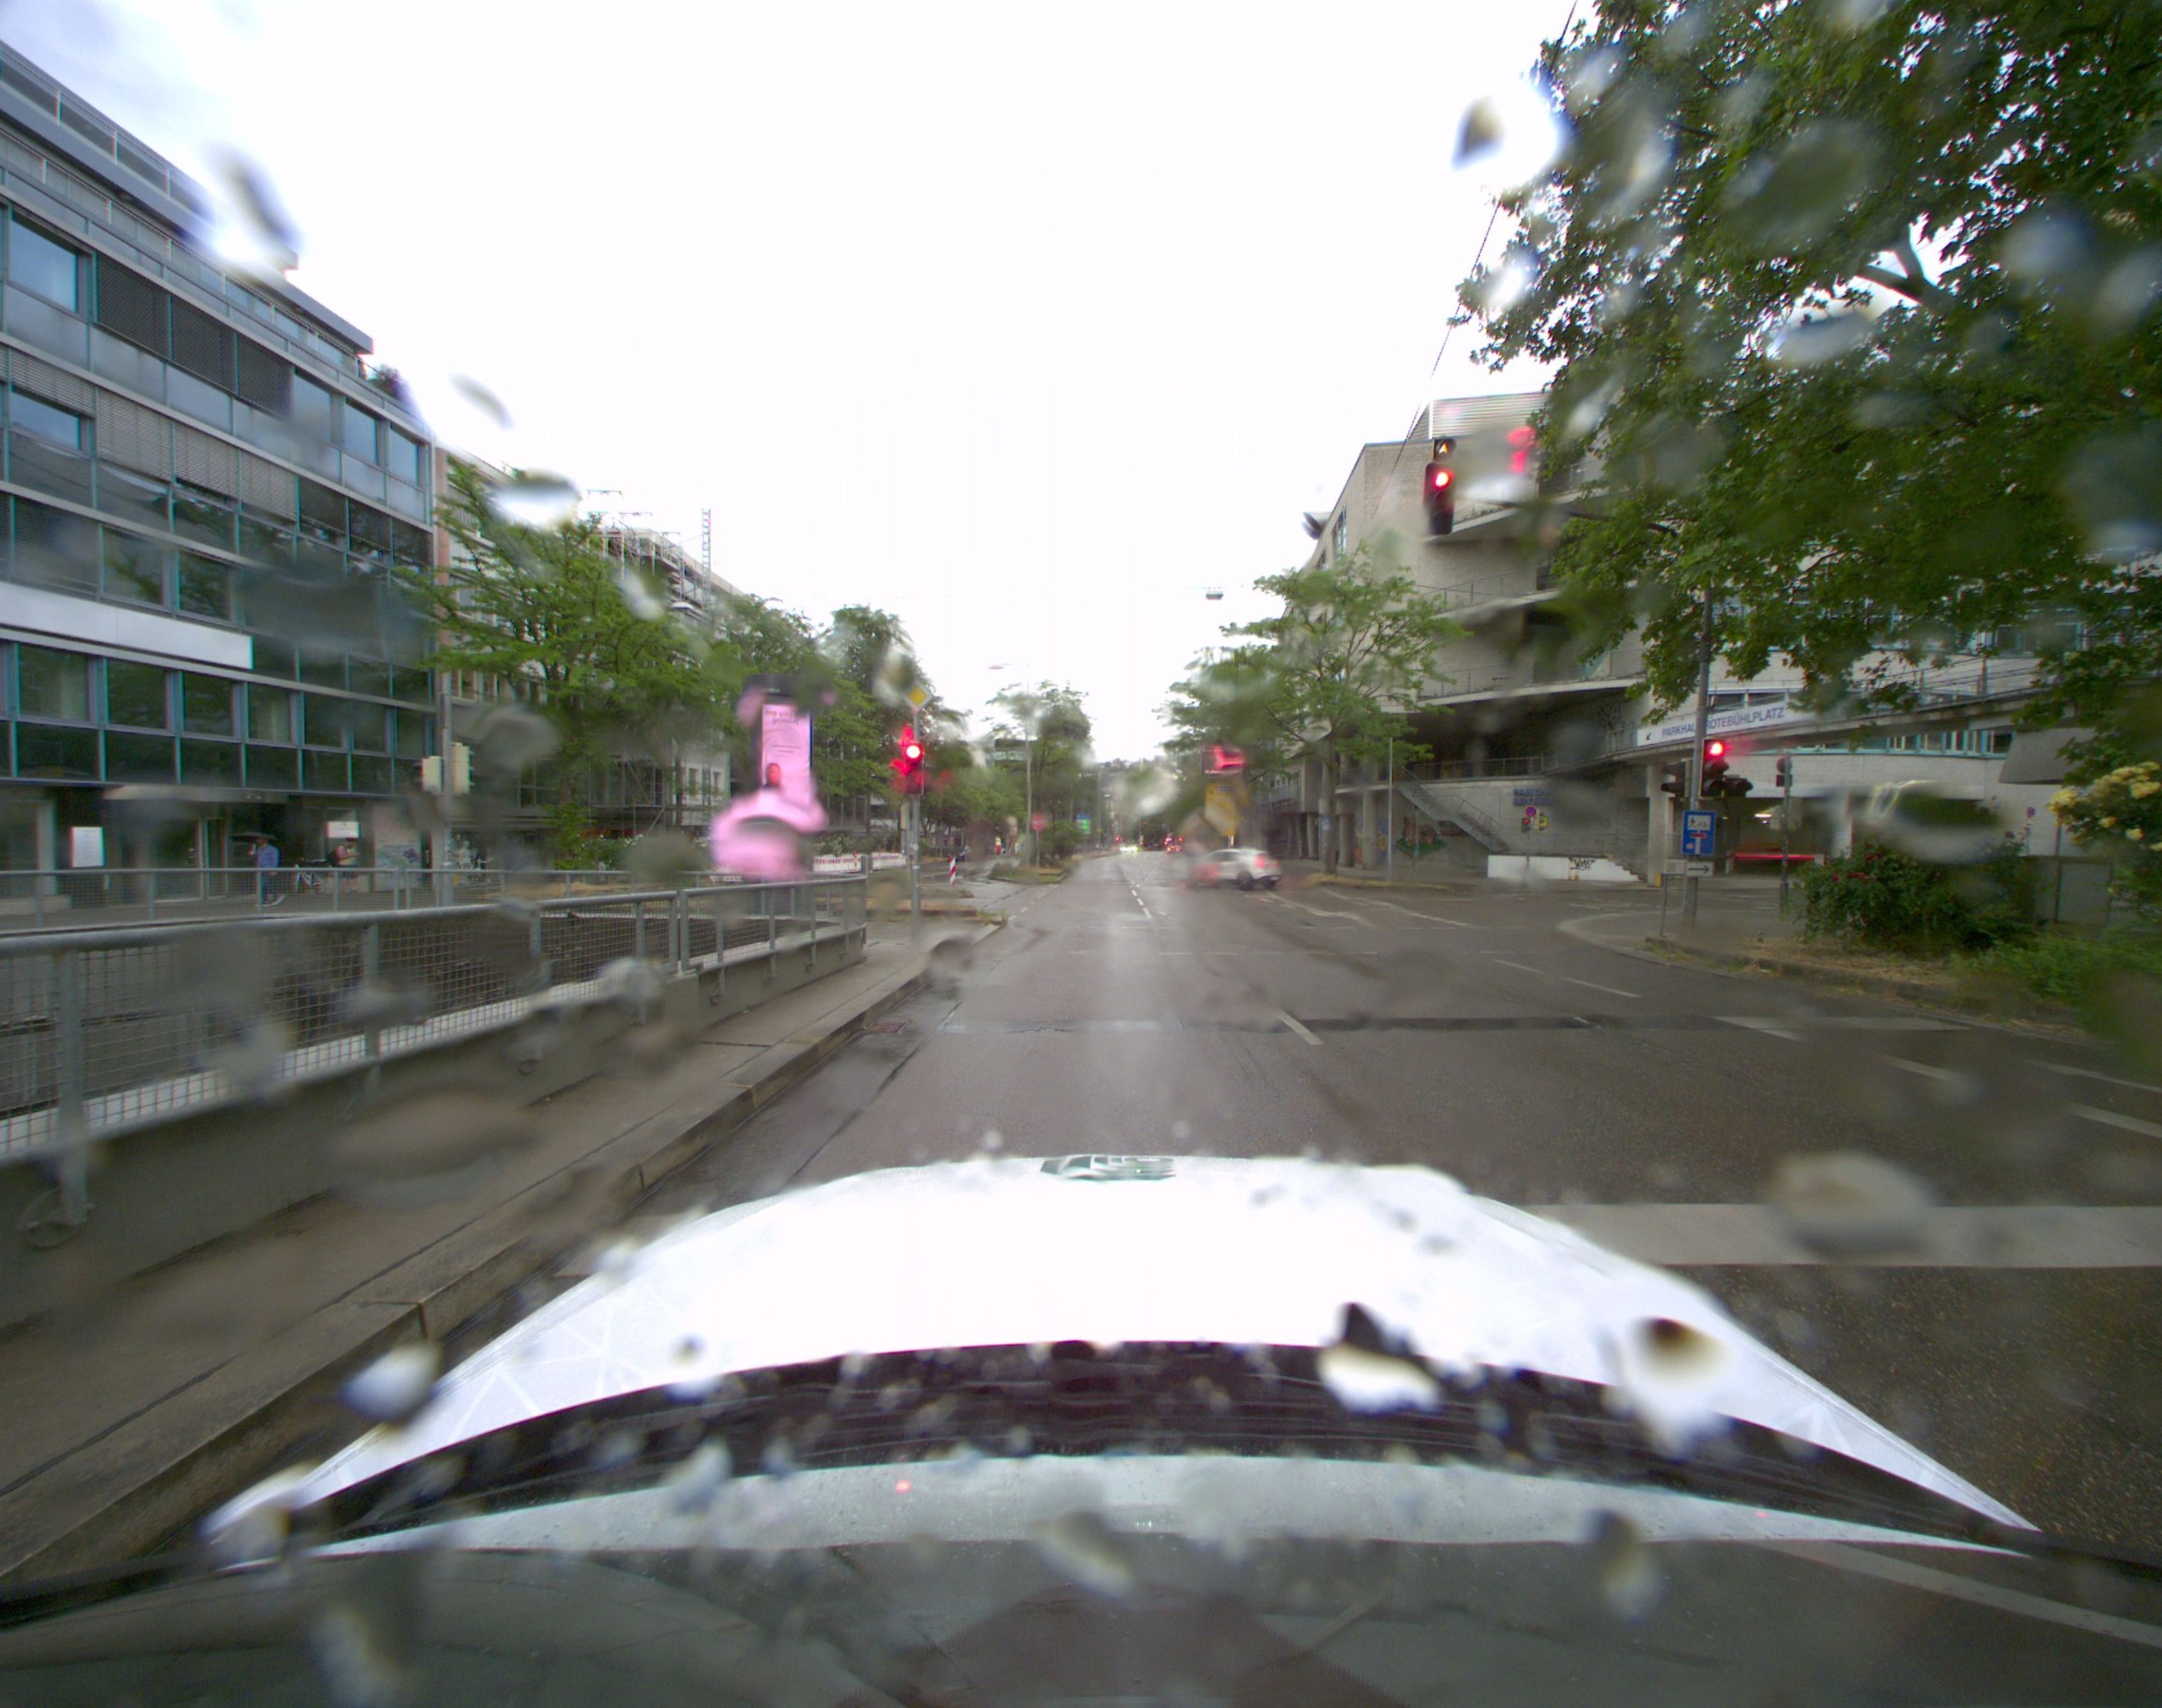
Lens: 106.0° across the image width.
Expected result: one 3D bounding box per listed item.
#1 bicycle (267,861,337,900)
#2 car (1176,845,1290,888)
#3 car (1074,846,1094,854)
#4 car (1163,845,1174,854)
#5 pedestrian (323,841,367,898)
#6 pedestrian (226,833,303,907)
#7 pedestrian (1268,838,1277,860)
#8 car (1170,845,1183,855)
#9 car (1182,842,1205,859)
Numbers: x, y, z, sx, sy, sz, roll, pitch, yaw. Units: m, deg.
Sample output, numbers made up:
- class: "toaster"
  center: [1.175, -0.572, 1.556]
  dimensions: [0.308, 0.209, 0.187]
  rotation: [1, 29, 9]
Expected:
- class: "bicycle"
  center: [-22.957, 0.762, 24.043]
  dimensions: [0.444, 1.085, 1.567]
  rotation: [0, 0, 6]
- class: "car"
  center: [6.174, 0.479, 33.403]
  dimensions: [4.246, 1.640, 1.846]
  rotation: [1, 0, 42]
- class: "car"
  center: [0.693, -1.015, 186.210]
  dimensions: [3.998, 1.758, 1.988]
  rotation: [1, 0, -19]
- class: "car"
  center: [17.855, -0.857, 166.650]
  dimensions: [1.986, 1.736, 4.001]
  rotation: [0, -1, 2]
- class: "pedestrian"
  center: [-22.812, 0.473, 25.243]
  dimensions: [0.694, 1.741, 0.694]
  rotation: [1, 0, -4]
- class: "pedestrian"
  center: [-20.892, 0.400, 20.868]
  dimensions: [0.854, 1.838, 1.060]
  rotation: [1, 0, 2]
- class: "pedestrian"
  center: [17.411, -0.441, 74.216]
  dimensions: [0.770, 1.920, 0.705]
  rotation: [-1, -1, 11]
- class: "car"
  center: [17.505, -0.733, 149.257]
  dimensions: [1.986, 1.723, 4.001]
  rotation: [0, -1, 1]
- class: "car"
  center: [11.532, -0.365, 83.350]
  dimensions: [2.324, 1.691, 4.010]
  rotation: [0, 0, 9]
